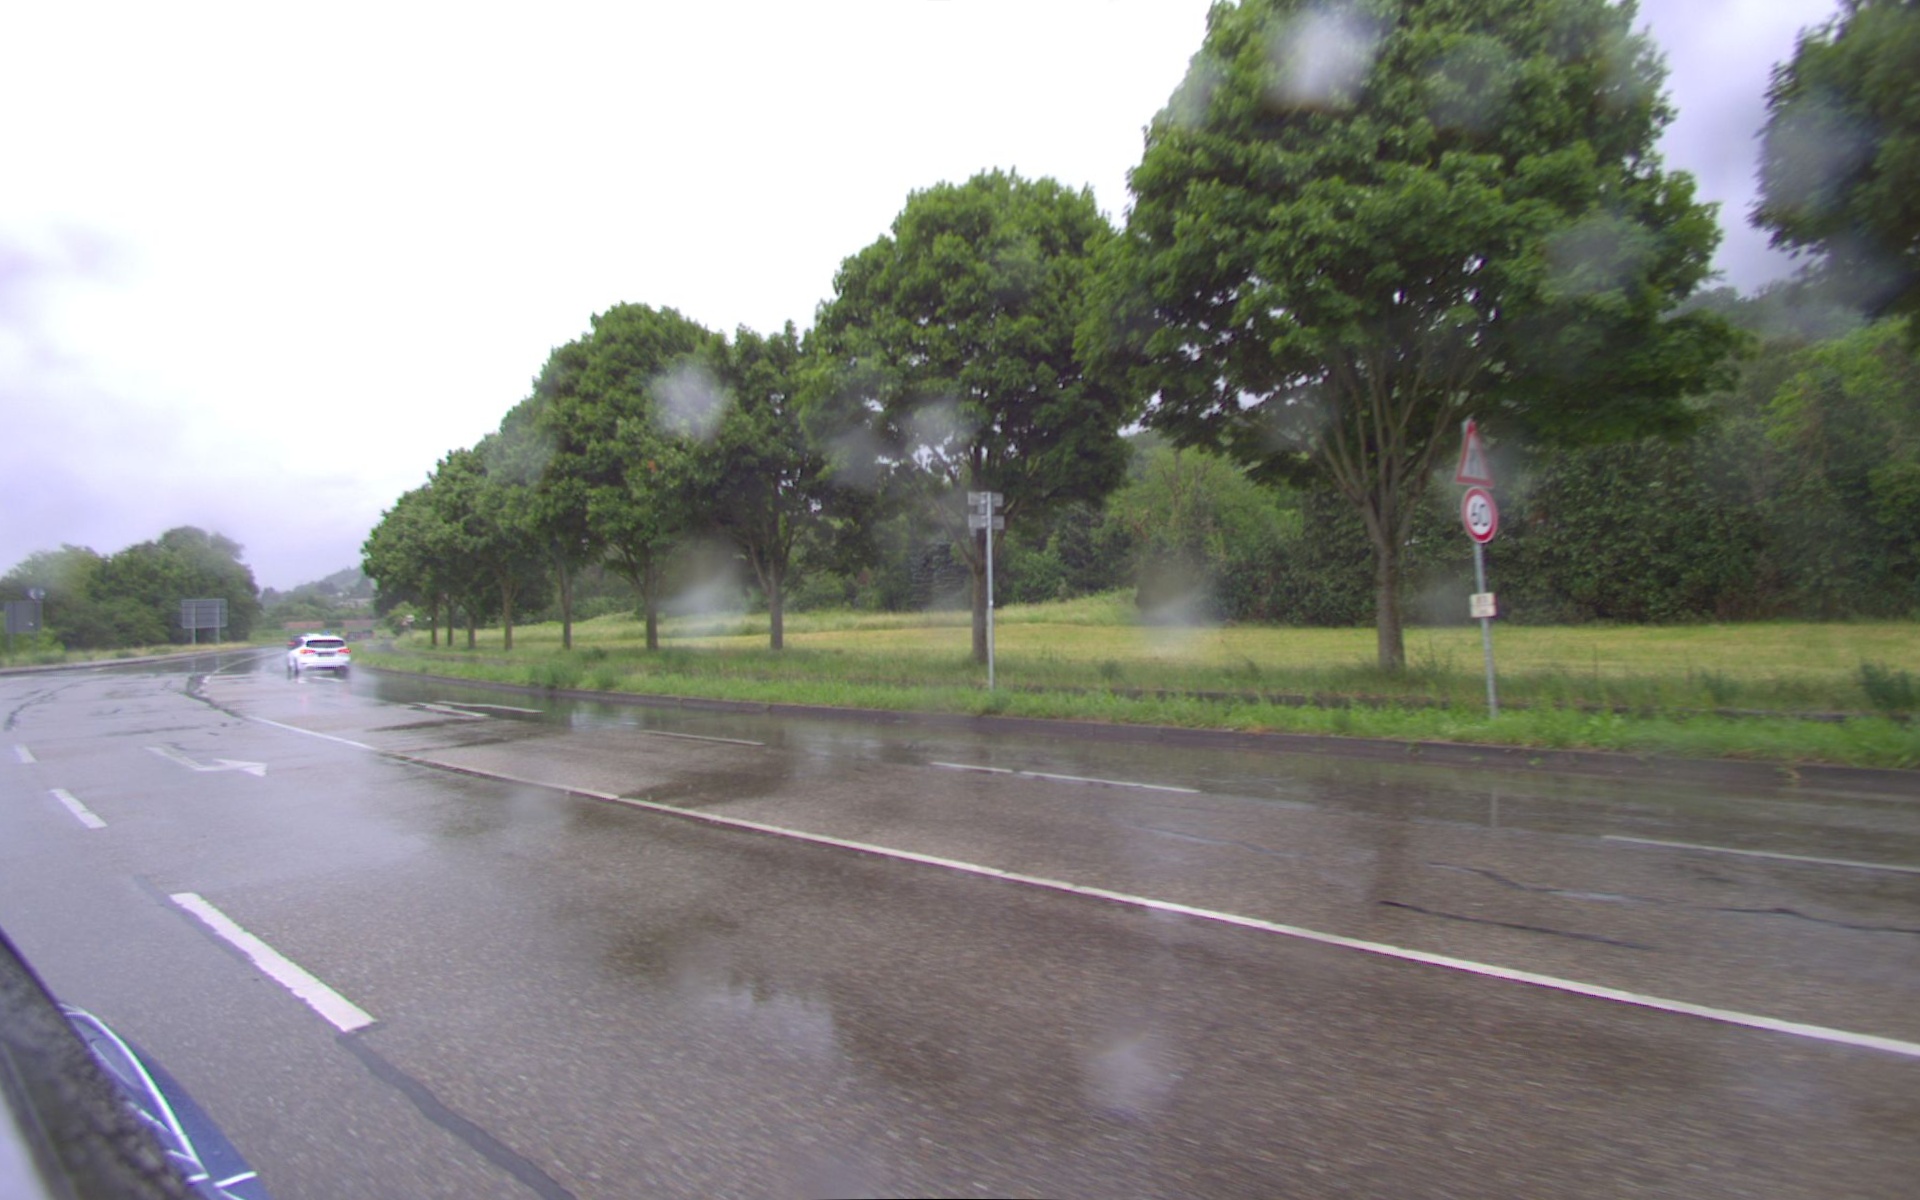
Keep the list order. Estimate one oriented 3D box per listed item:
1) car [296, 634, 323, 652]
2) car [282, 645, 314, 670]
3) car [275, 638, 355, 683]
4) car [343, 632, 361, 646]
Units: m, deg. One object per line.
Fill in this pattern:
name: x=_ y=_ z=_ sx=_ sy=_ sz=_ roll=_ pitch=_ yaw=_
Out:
car: x=-56.972 y=3.756 z=88.689 sx=1.715 sy=1.498 sz=4.023 roll=1 pitch=-2 yaw=-30
car: x=-48.787 y=4.204 z=74.586 sx=1.859 sy=1.599 sz=4.130 roll=-3 pitch=1 yaw=-33
car: x=-24.887 y=2.281 z=38.980 sx=1.856 sy=1.585 sz=4.650 roll=1 pitch=-2 yaw=-42
car: x=-80.296 y=5.110 z=133.662 sx=1.898 sy=1.756 sz=4.300 roll=1 pitch=-2 yaw=-32
